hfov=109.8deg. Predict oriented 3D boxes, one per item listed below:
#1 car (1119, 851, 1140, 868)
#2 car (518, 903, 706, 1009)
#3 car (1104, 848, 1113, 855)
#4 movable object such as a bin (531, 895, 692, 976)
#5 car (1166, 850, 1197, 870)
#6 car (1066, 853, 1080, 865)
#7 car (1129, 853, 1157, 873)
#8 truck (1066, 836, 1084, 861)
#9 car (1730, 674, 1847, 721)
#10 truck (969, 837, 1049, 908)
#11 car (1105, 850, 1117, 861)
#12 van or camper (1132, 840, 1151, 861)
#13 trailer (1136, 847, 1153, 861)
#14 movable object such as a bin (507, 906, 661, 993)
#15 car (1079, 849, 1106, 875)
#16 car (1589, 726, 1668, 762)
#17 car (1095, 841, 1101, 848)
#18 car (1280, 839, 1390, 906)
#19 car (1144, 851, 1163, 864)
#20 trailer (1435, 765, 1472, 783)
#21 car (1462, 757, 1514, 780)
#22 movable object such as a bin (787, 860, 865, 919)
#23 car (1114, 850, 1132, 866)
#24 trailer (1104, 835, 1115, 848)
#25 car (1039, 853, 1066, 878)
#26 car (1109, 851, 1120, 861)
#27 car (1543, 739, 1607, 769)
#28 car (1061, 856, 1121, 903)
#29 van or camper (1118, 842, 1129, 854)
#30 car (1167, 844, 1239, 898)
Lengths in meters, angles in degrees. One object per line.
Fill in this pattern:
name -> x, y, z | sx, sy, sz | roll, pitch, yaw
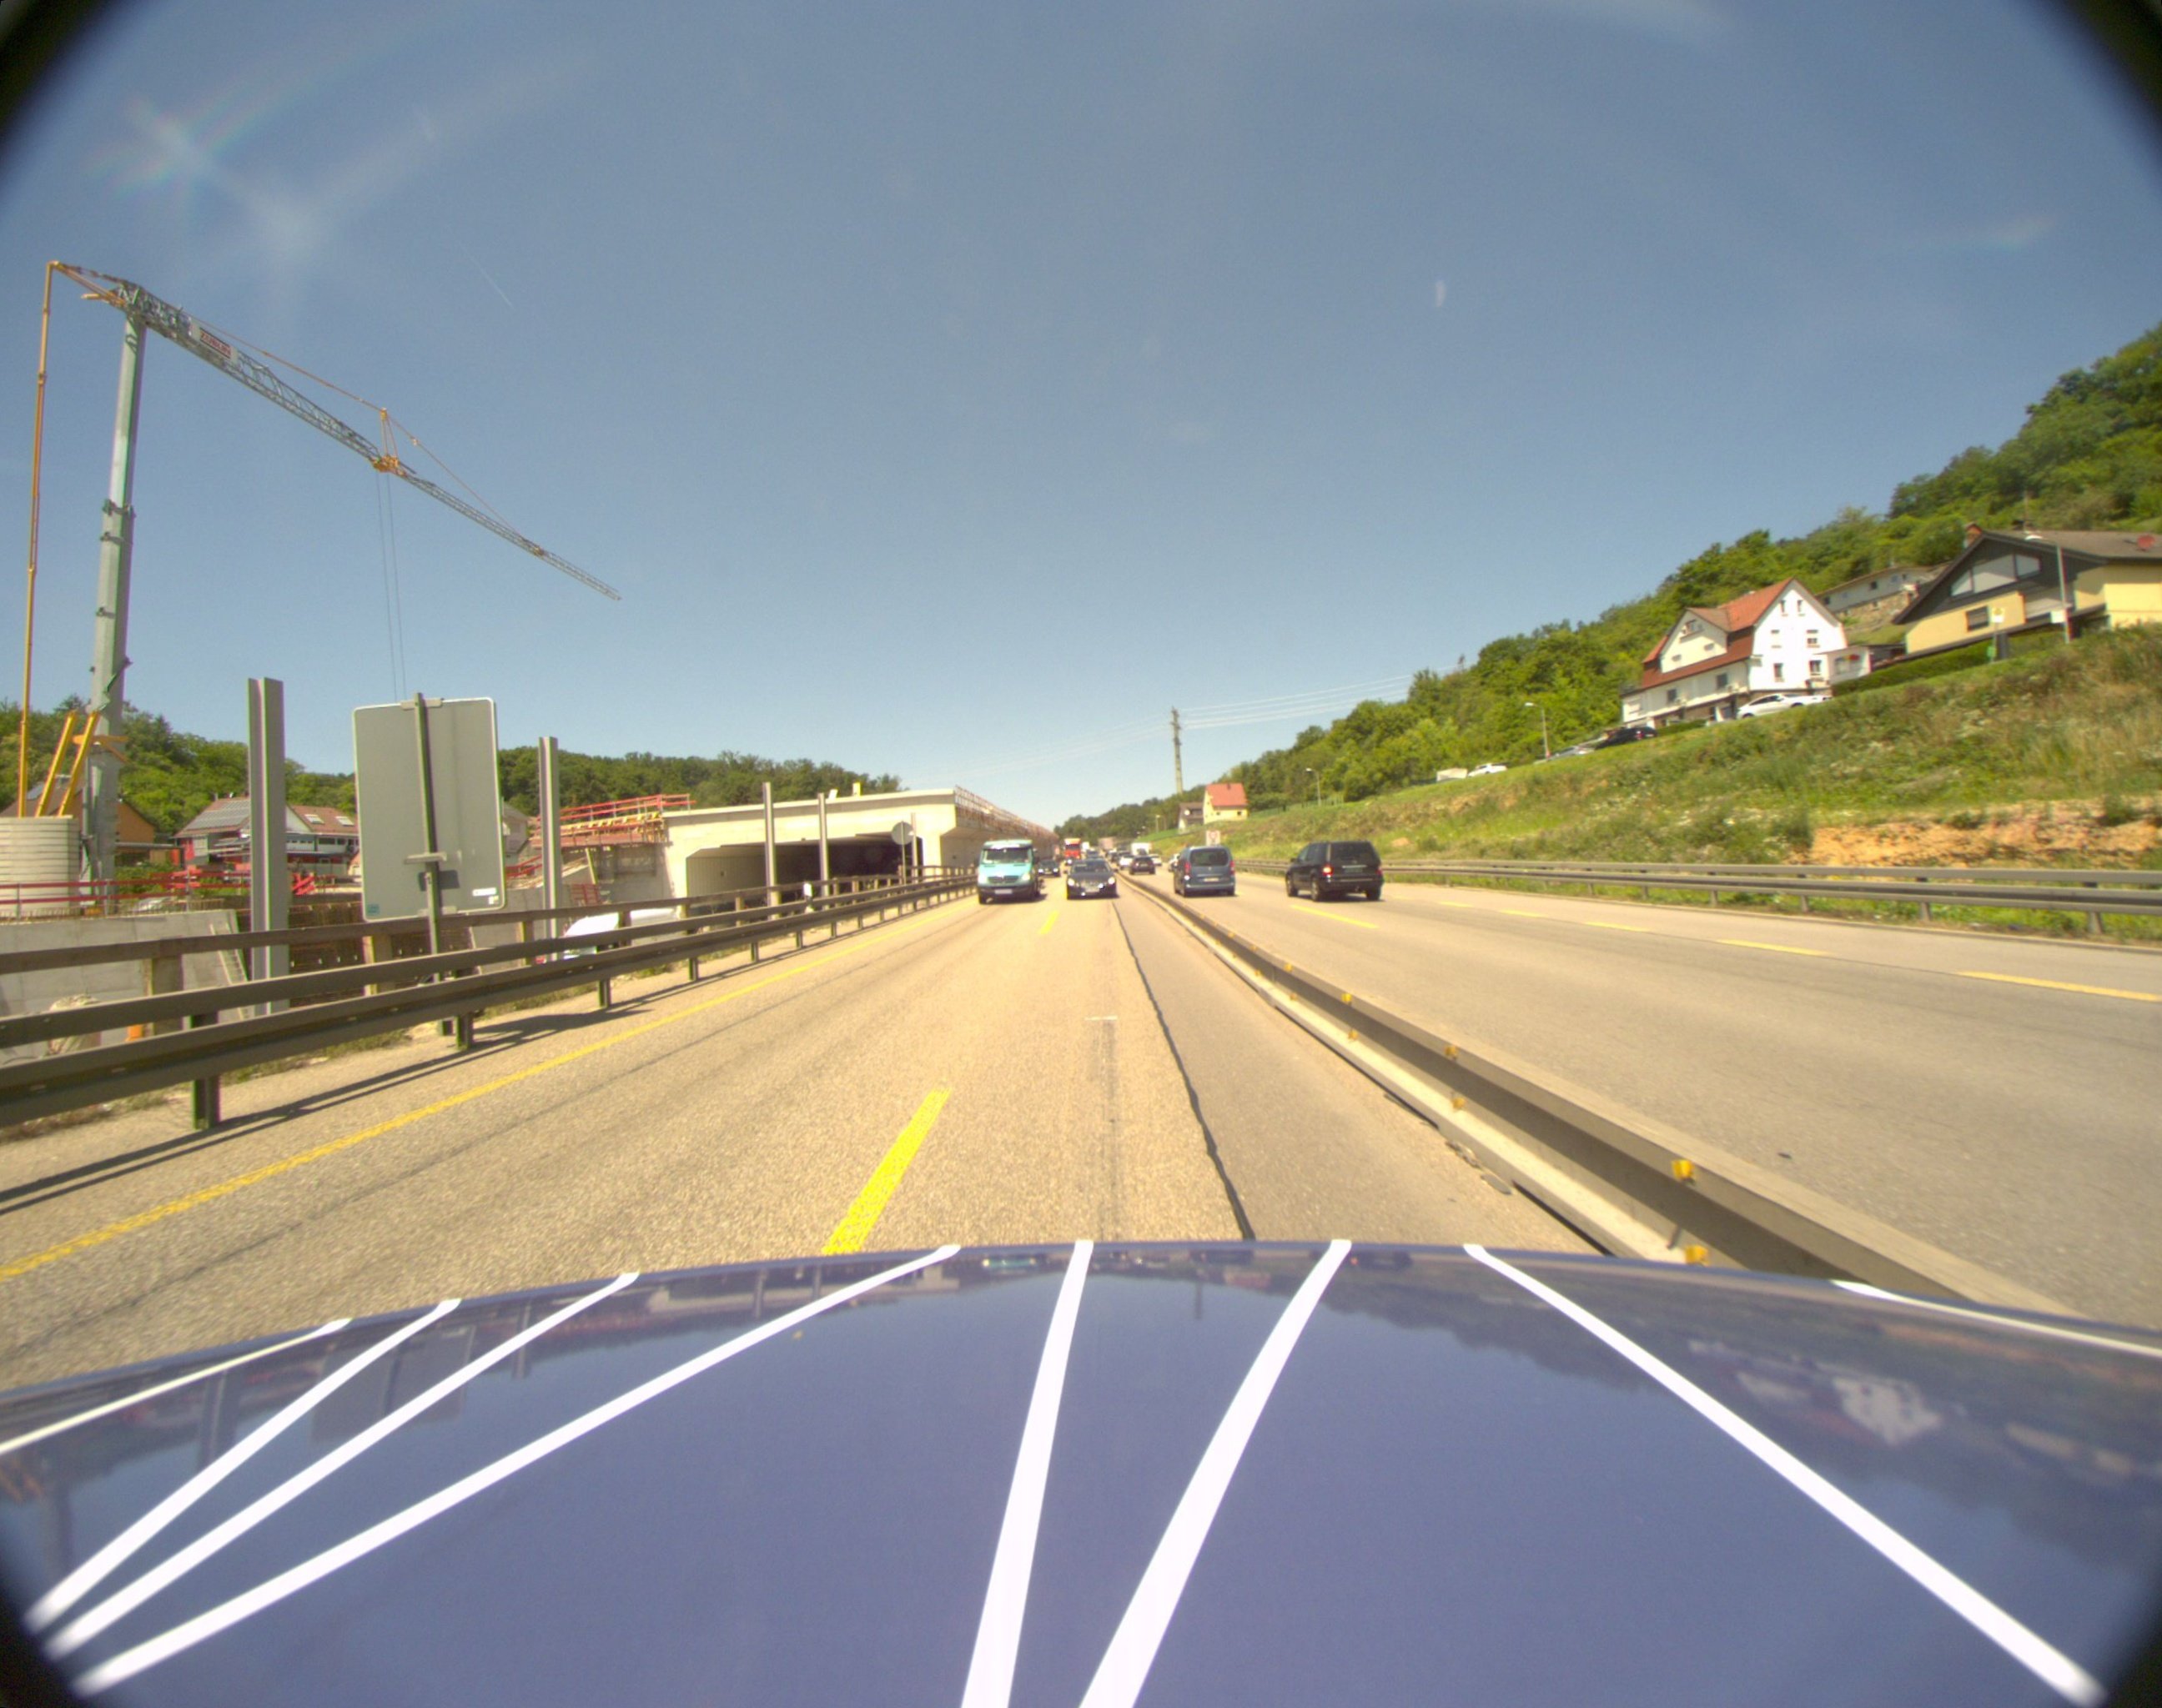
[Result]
car -> 4.954, 0.503, 78.300 | 1.811, 1.630, 4.172 | -2, 0, 0
car -> -17.275, 3.611, 28.655 | 2.149, 2.840, 7.023 | -2, 1, 5
car -> 6.005, -0.611, 165.856 | 1.847, 1.467, 4.834 | -2, 0, 1
movable object such as a bin -> -24.910, 4.309, 40.306 | 7.141, 2.883, 3.503 | -11, -2, 23
car -> 8.078, 0.453, 61.323 | 1.808, 1.488, 4.599 | -2, 0, 0
car -> -1.130, 0.760, 110.193 | 1.883, 1.532, 4.281 | -2, 1, 1
car -> 4.721, 0.654, 58.070 | 1.802, 1.458, 4.355 | -1, 0, 1
truck -> -1.032, -1.016, 131.376 | 2.750, 4.222, 9.093 | -2, 1, 1
car -> 41.683, -9.178, 44.962 | 1.999, 1.784, 5.008 | -2, 1, -6
truck -> -2.617, 0.562, 29.700 | 2.139, 2.344, 7.432 | -2, 1, 2
car -> 5.402, 0.214, 136.558 | 1.842, 1.817, 5.040 | -2, 0, 0
van or camper -> 9.294, -0.580, 116.675 | 2.297, 3.048, 6.923 | -2, 0, 1
trailer -> 9.225, 0.023, 110.754 | 2.106, 1.883, 5.141 | -2, 0, 1
movable object such as a bin -> -20.017, 3.758, 31.002 | 2.149, 2.661, 5.501 | -2, 1, 5
car -> 0.953, 0.593, 58.423 | 1.884, 1.805, 4.250 | -2, 1, 3
car -> 40.782, -8.155, 56.753 | 2.077, 1.997, 4.970 | -2, 1, -4
car -> 5.372, -2.981, 242.184 | 1.998, 2.002, 3.999 | -2, 1, 1
car -> 7.513, 0.498, 22.938 | 1.832, 1.755, 4.497 | -2, 0, 1
car -> 8.825, 0.383, 92.602 | 1.814, 1.423, 4.555 | -3, 0, 1
trailer -> 37.967, -8.177, 77.516 | 1.908, 1.507, 3.034 | -3, 1, -10
car -> 38.701, -8.094, 72.324 | 2.000, 1.646, 4.548 | -3, 1, -9
movable object such as a bin -> -20.554, 2.713, 61.978 | 2.961, 4.039, 9.154 | -2, 1, 1
car -> 5.372, 0.504, 98.350 | 1.915, 2.002, 4.905 | -2, 0, 0
trailer -> 9.135, -4.016, 244.309 | 2.937, 3.966, 8.704 | -2, 1, -1
car -> -2.280, 0.905, 61.338 | 1.885, 1.805, 4.249 | -2, 1, 1
car -> 5.124, 0.246, 115.435 | 1.487, 1.496, 2.805 | -2, 0, 1
car -> 40.123, -8.110, 61.852 | 1.999, 1.861, 4.428 | -2, 1, -5
car -> 0.407, 0.884, 28.084 | 1.998, 1.441, 4.601 | -2, 1, 2
van or camper -> 9.977, -1.436, 177.167 | 2.145, 2.558, 6.564 | -3, 0, 1
car -> 4.374, 0.570, 27.860 | 1.850, 1.767, 4.882 | -2, 0, 0
